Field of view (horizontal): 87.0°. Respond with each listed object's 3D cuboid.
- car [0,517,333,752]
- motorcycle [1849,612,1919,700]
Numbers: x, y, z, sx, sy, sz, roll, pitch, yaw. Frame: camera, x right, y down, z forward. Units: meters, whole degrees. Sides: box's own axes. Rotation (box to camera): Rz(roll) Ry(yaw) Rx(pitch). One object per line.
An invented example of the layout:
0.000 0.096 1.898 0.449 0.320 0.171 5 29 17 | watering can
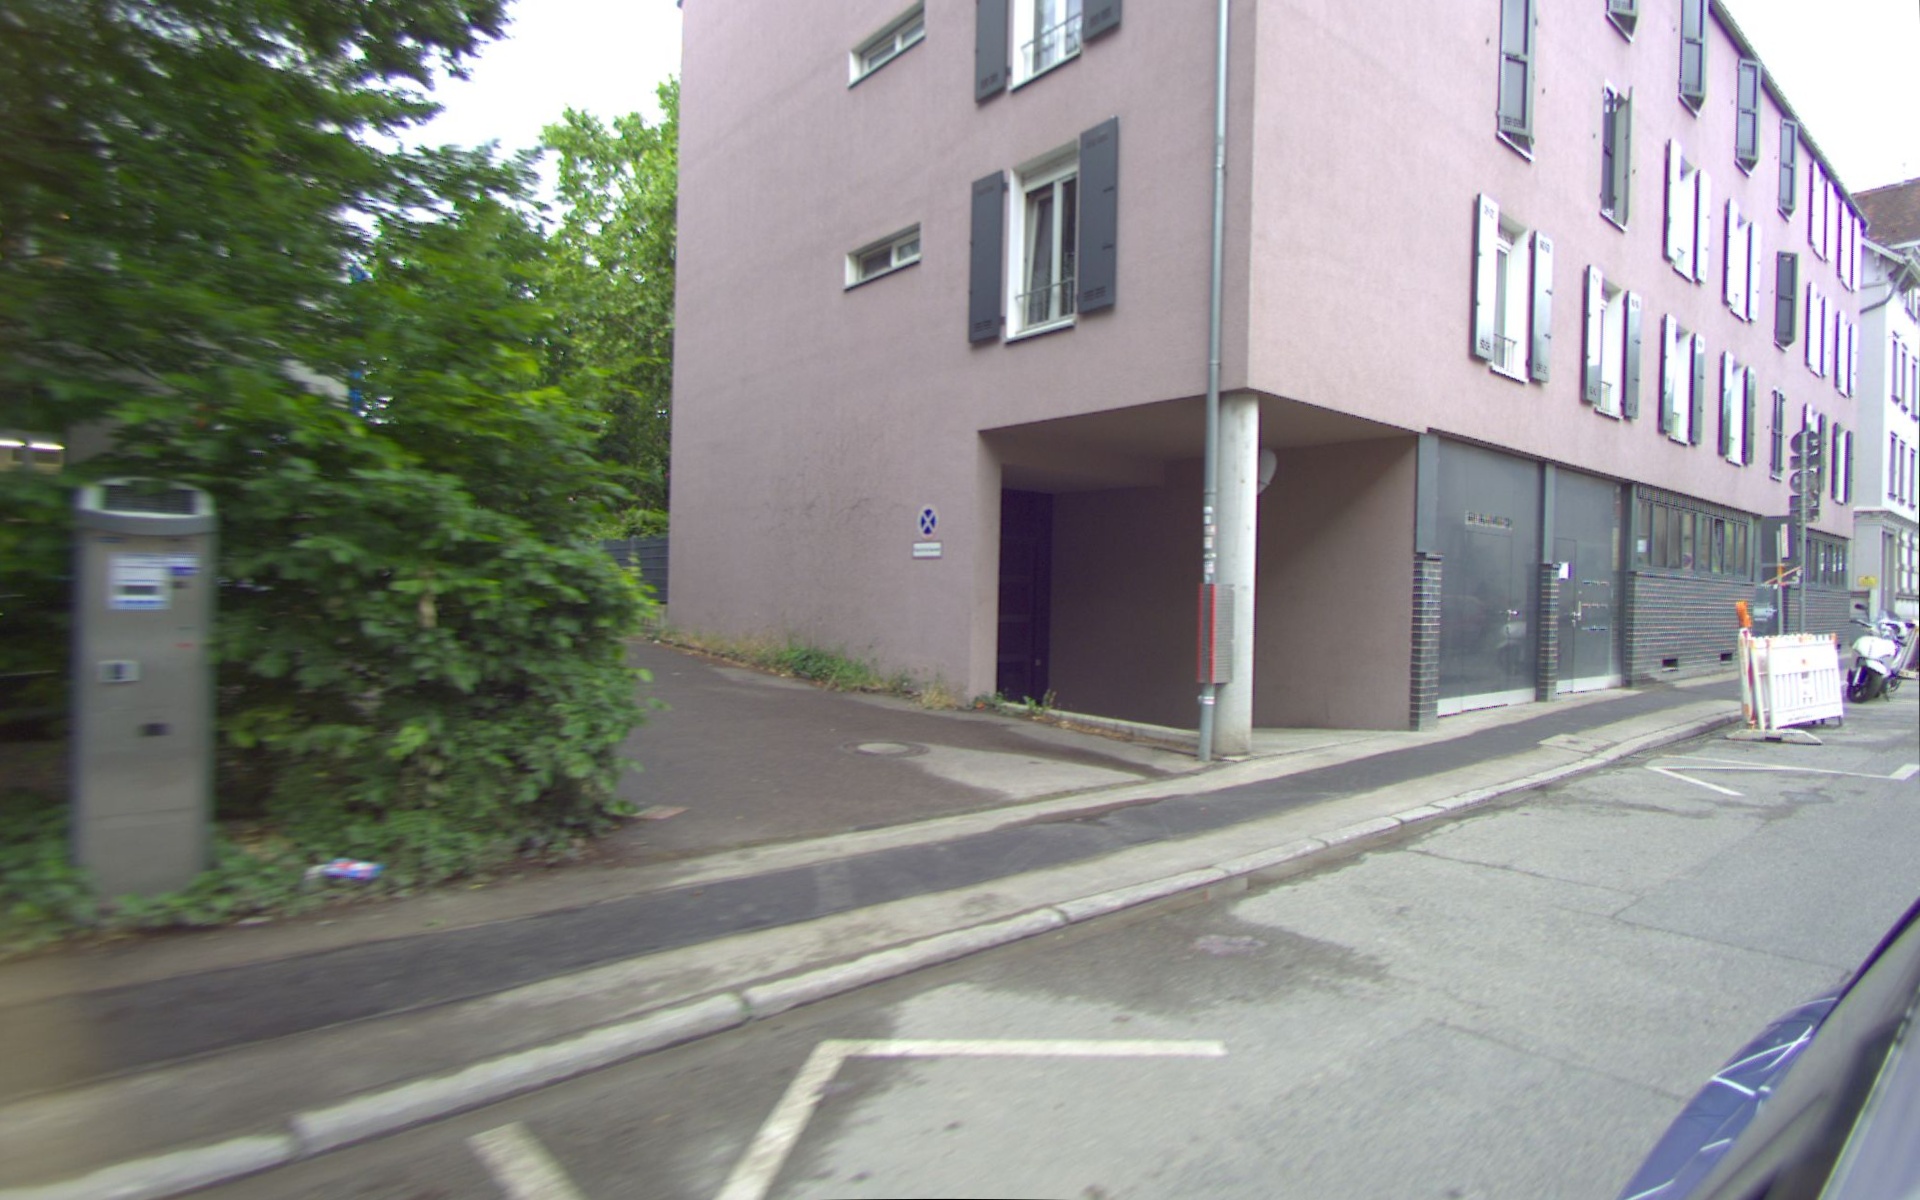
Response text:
-7.121 0.189 7.492 3.934 1.604 1.638 1 3 -44 | car
14.415 0.825 15.668 2.296 1.242 0.648 0 0 -40 | motorcycle
